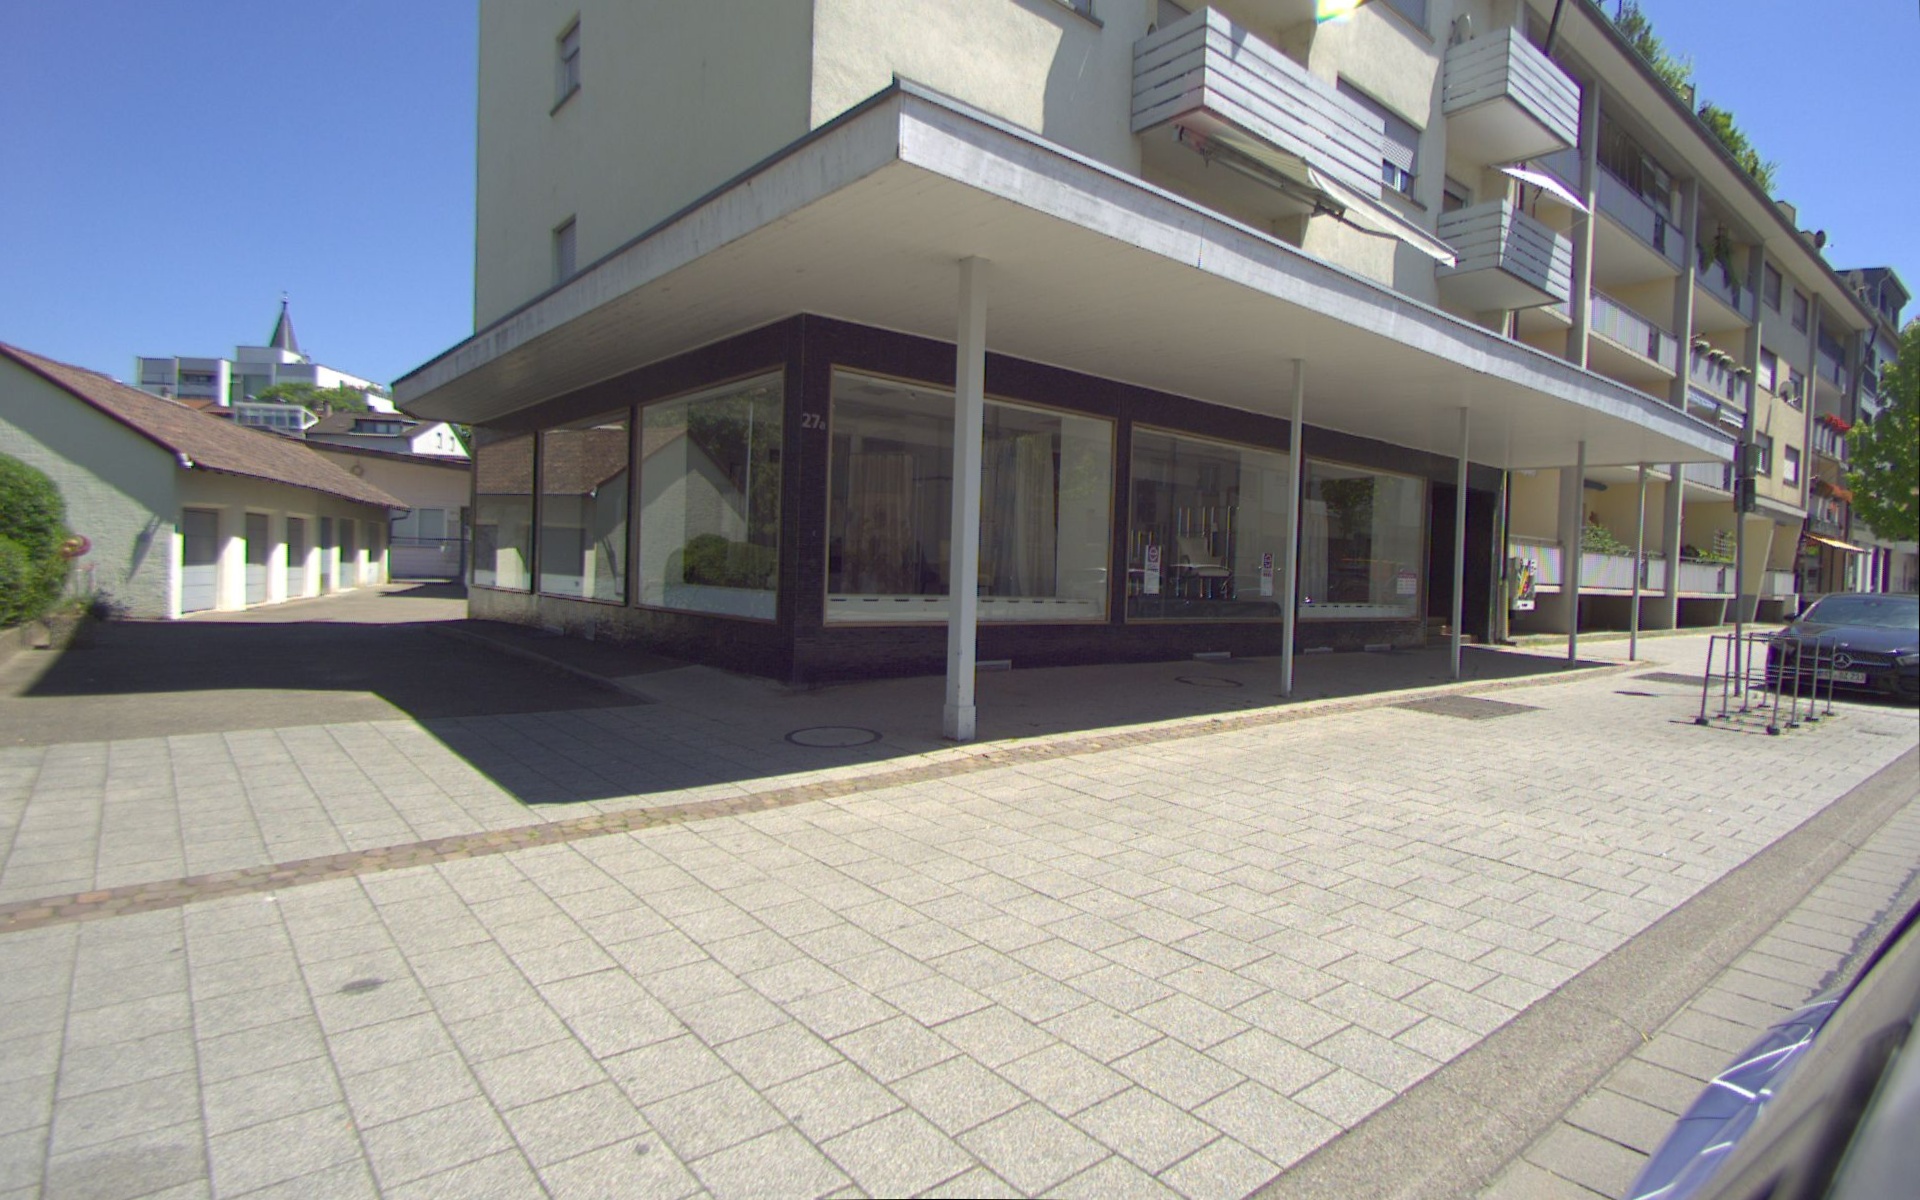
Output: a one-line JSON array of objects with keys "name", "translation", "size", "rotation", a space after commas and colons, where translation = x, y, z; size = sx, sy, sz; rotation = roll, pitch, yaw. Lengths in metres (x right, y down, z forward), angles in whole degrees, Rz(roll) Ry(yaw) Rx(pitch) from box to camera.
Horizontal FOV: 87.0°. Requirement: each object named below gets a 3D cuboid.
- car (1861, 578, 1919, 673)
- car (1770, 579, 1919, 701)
[{"name": "car", "translation": [17.337, 0.428, 17.734], "size": [4.042, 1.526, 1.731], "rotation": [0, 3, -41]}, {"name": "car", "translation": [13.042, 0.489, 14.194], "size": [4.042, 1.403, 1.818], "rotation": [0, 5, -41]}]
